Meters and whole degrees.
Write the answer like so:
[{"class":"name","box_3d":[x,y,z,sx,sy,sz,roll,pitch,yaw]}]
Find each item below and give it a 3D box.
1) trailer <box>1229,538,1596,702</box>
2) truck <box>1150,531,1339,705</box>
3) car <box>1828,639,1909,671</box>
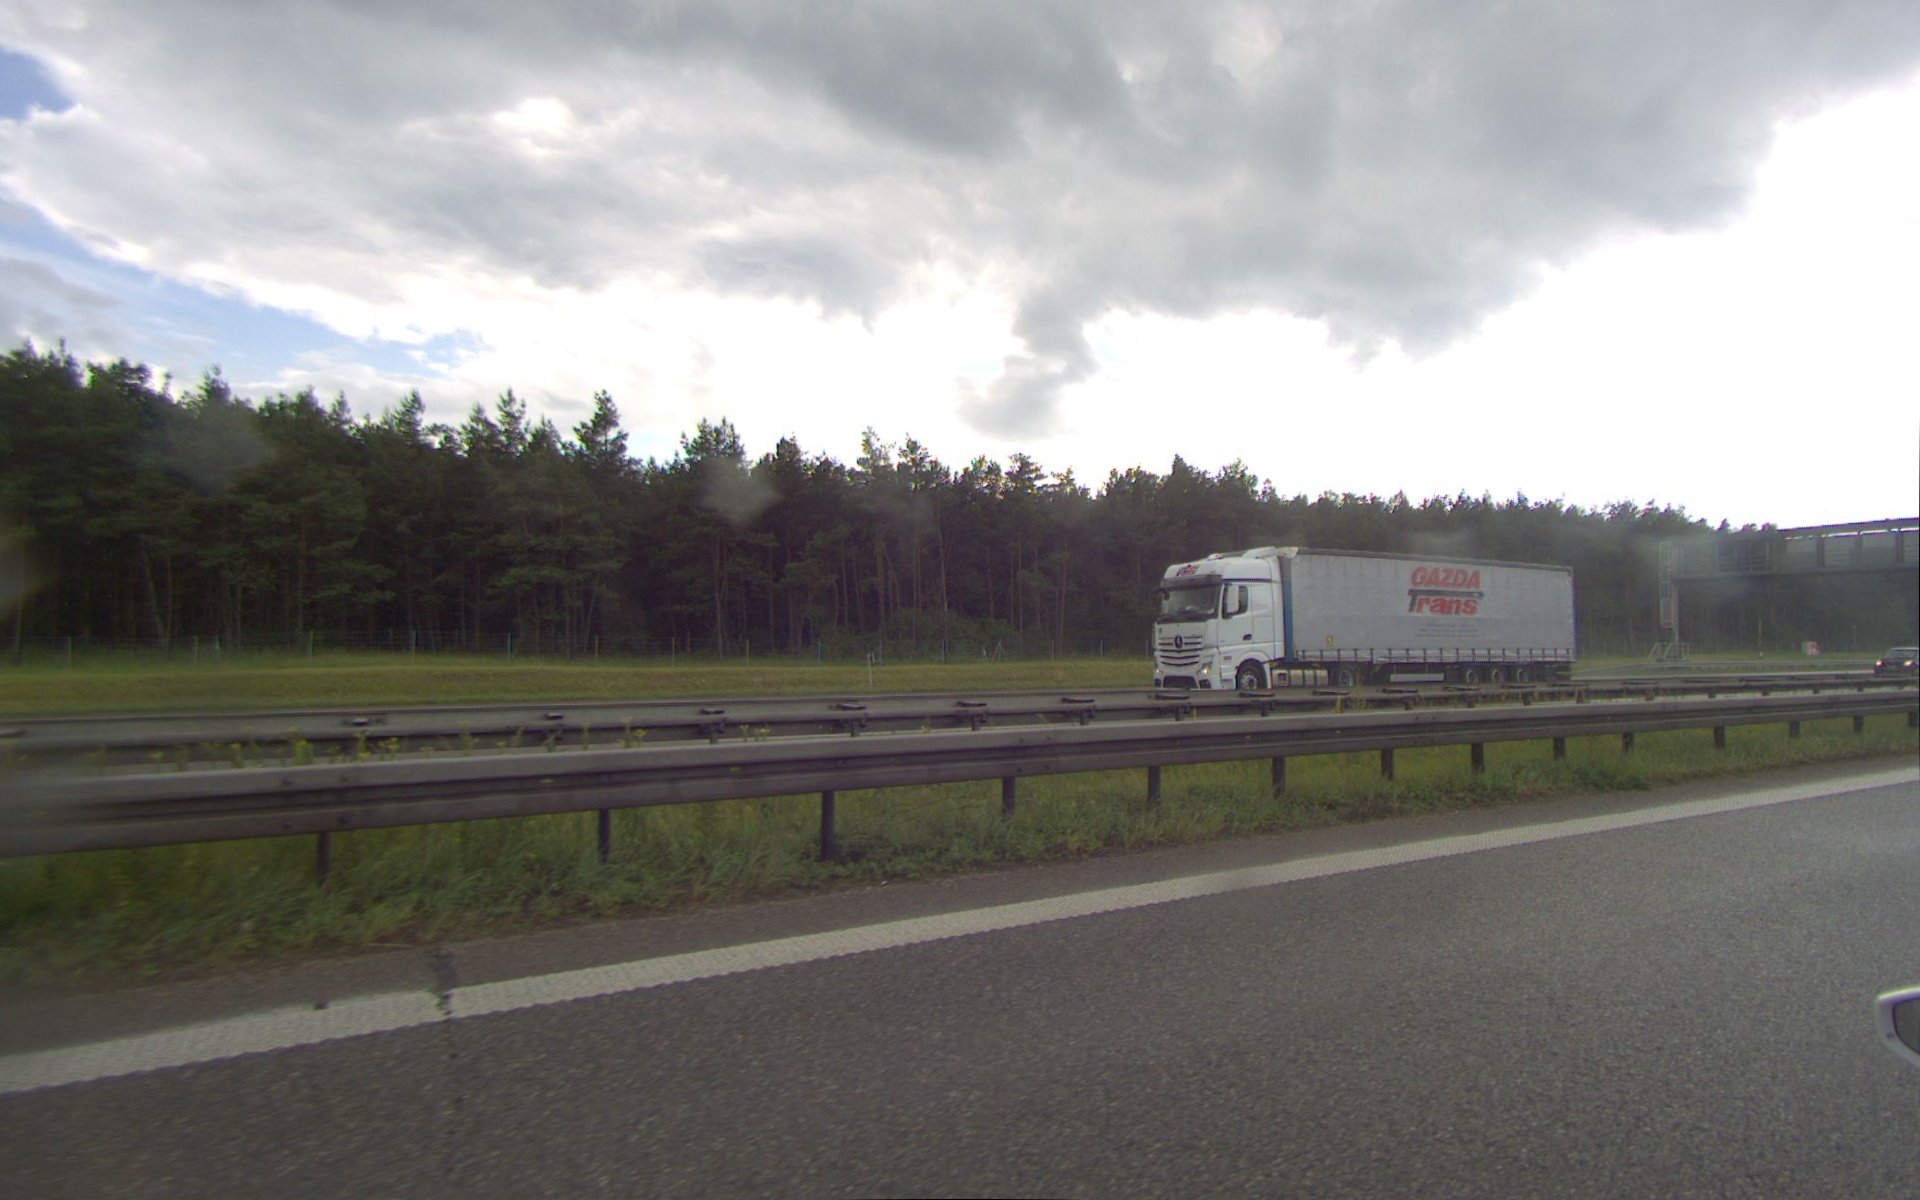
[{"class":"trailer","box_3d":[14.338,0.717,30.744,14.451,4.297,2.088,2,0,-30]},{"class":"truck","box_3d":[7.652,0.498,26.939,4.650,4.294,2.130,2,0,-29]},{"class":"car","box_3d":[43.837,2.646,48.466,4.509,1.479,1.664,2,-2,-31]}]
